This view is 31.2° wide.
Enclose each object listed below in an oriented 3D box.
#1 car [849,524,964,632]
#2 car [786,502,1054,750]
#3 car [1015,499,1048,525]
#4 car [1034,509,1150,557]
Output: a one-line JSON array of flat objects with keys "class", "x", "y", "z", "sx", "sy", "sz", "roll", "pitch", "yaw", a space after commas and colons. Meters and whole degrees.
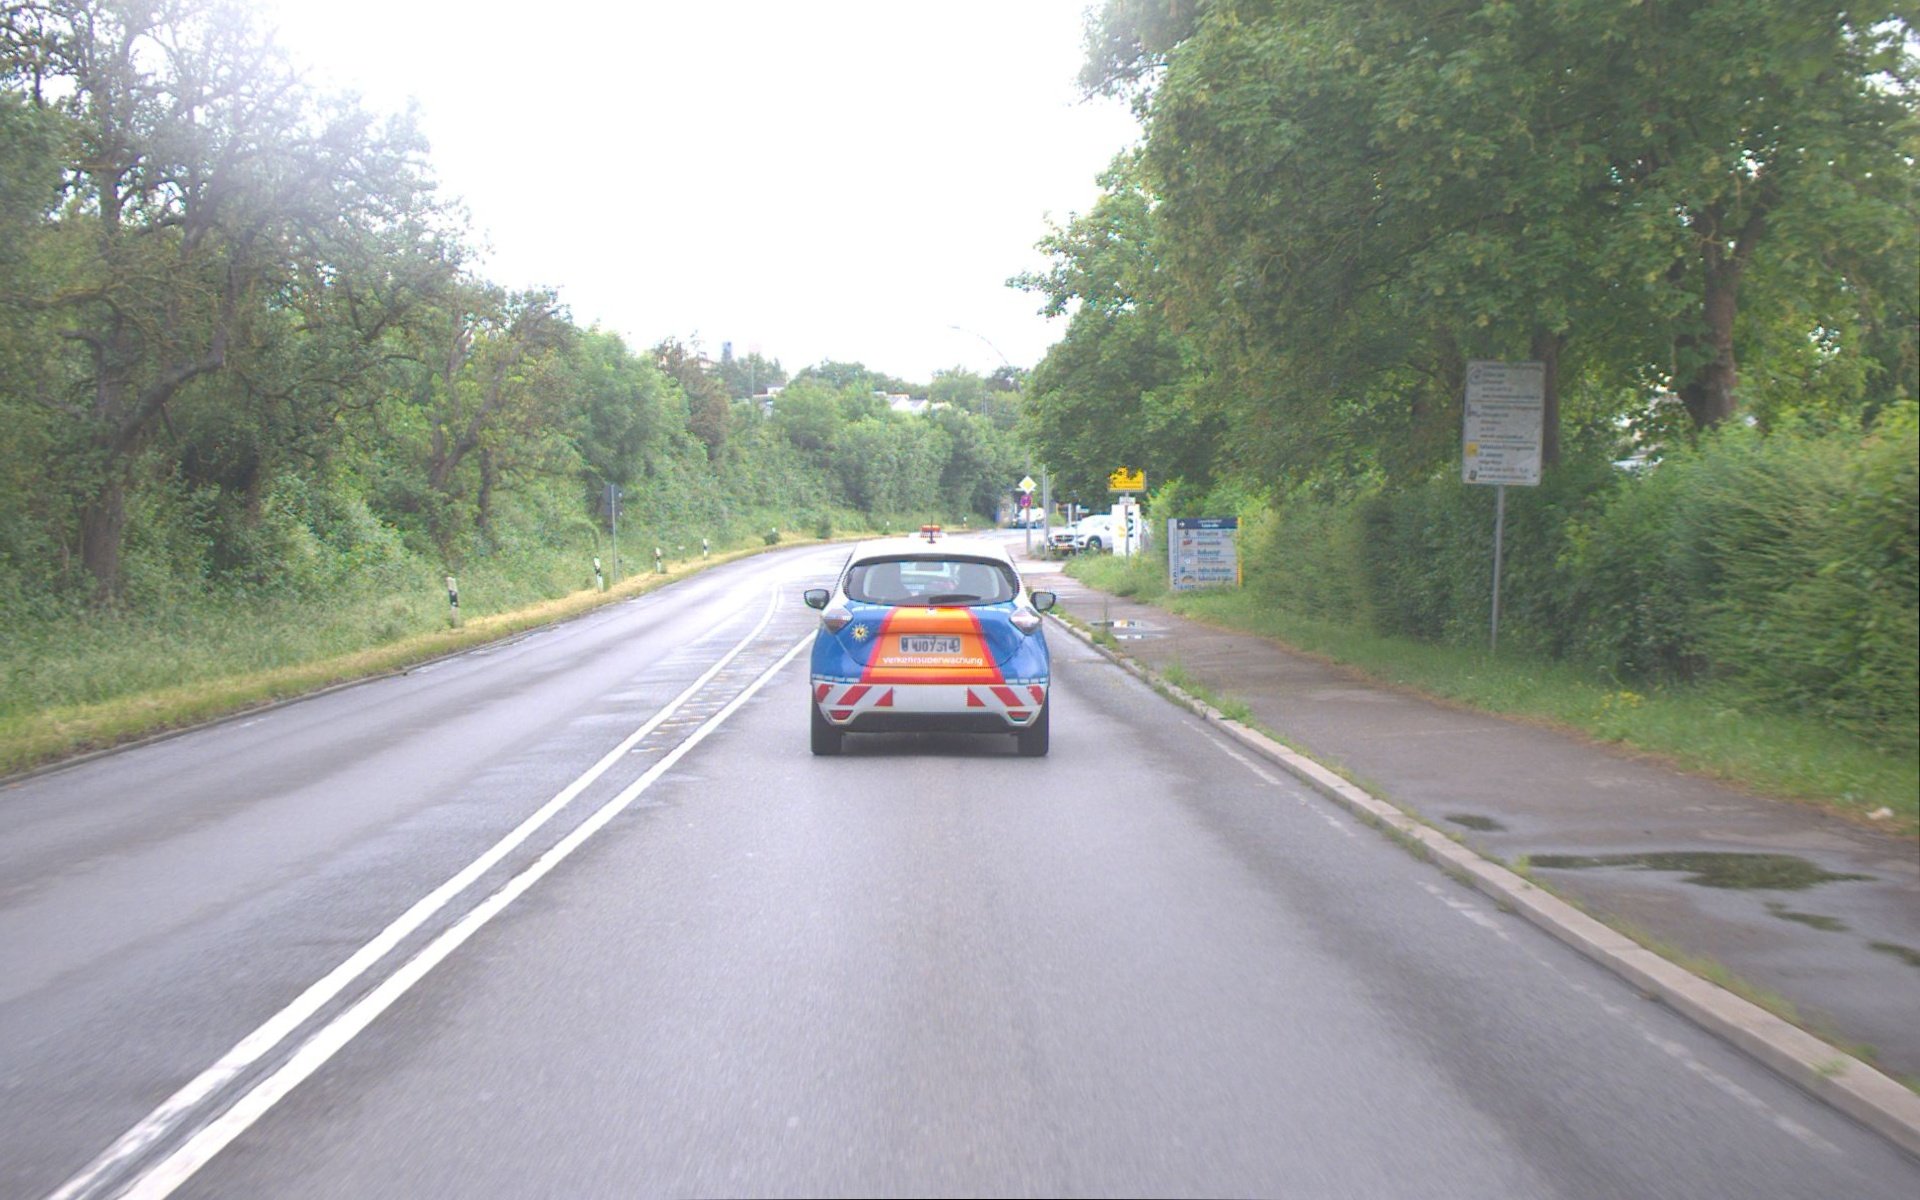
[{"class": "car", "x": -0.876, "y": -0.363, "z": 54.204, "sx": 1.694, "sy": 1.590, "sz": 3.856, "roll": 2, "pitch": 1, "yaw": -2}, {"class": "car", "x": -0.307, "y": 0.158, "z": 25.763, "sx": 1.806, "sy": 1.662, "sz": 3.856, "roll": 2, "pitch": 1, "yaw": -1}, {"class": "car", "x": 5.288, "y": -6.443, "z": 253.107, "sx": 1.695, "sy": 1.784, "sz": 3.854, "roll": 2, "pitch": 1, "yaw": 12}, {"class": "car", "x": 5.370, "y": -2.714, "z": 139.534, "sx": 4.606, "sy": 1.745, "sz": 2.034, "roll": 1, "pitch": 1, "yaw": -45}]
